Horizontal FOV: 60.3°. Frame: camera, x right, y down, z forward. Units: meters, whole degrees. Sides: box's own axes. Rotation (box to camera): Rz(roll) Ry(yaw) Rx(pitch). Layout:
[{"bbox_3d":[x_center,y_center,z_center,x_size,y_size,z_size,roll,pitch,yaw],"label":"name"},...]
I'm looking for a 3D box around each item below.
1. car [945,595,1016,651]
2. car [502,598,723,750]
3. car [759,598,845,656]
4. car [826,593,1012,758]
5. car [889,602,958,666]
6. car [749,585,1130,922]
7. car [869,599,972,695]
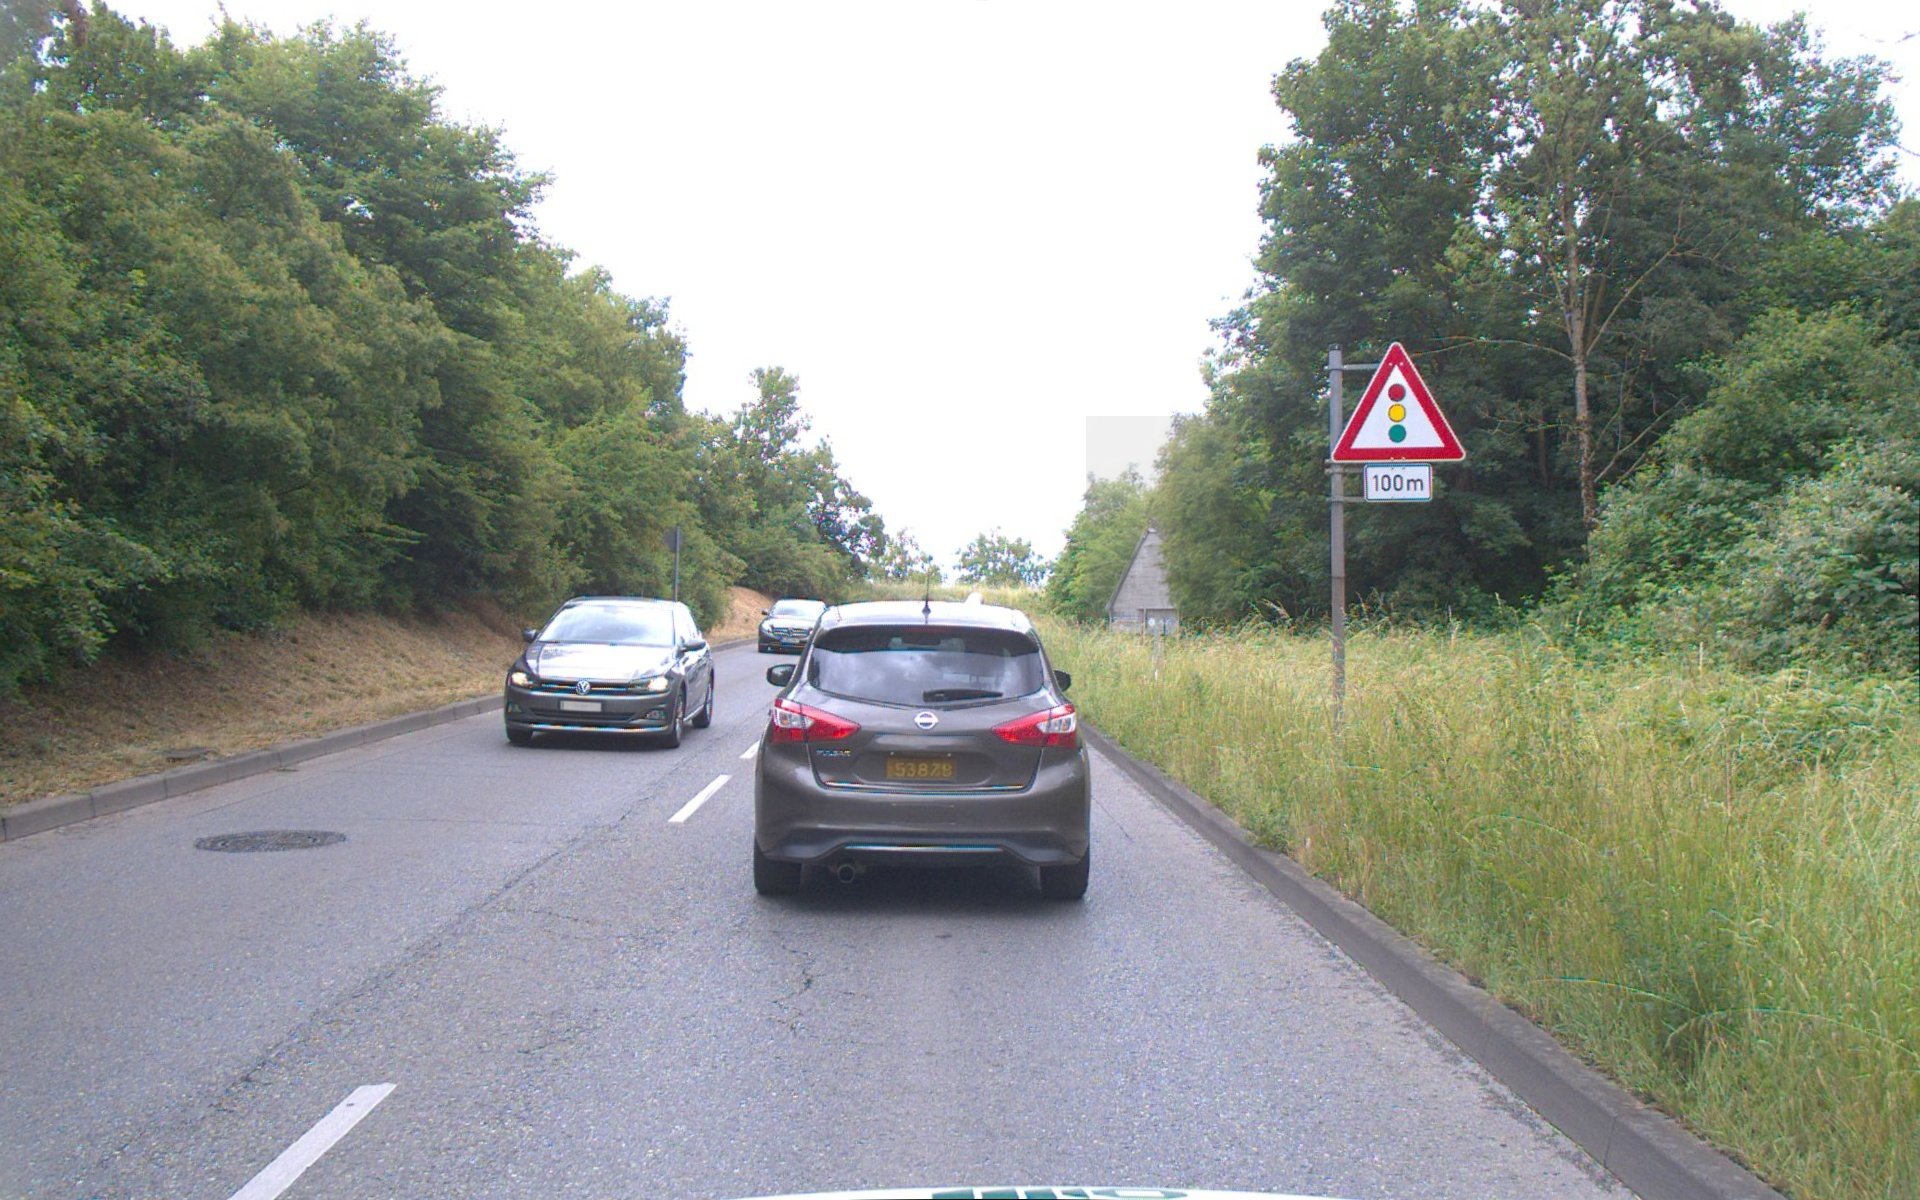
[{"bbox_3d":[0.776,0.814,59.900,1.699,1.969,3.545,0,0,17],"label":"car"},{"bbox_3d":[-3.558,0.698,17.547,1.609,1.425,3.820,1,0,-1],"label":"car"},{"bbox_3d":[-4.291,0.717,45.456,1.608,1.424,3.823,3,0,5],"label":"car"},{"bbox_3d":[-0.412,0.731,17.804,1.793,1.583,3.624,0,0,-1],"label":"car"},{"bbox_3d":[-0.905,0.840,42.536,1.700,1.583,3.543,0,0,-1],"label":"car"},{"bbox_3d":[-0.169,0.730,9.588,1.793,1.583,3.497,0,0,-3],"label":"car"},{"bbox_3d":[-0.674,0.781,29.173,1.700,1.583,3.543,0,0,-1],"label":"car"}]
